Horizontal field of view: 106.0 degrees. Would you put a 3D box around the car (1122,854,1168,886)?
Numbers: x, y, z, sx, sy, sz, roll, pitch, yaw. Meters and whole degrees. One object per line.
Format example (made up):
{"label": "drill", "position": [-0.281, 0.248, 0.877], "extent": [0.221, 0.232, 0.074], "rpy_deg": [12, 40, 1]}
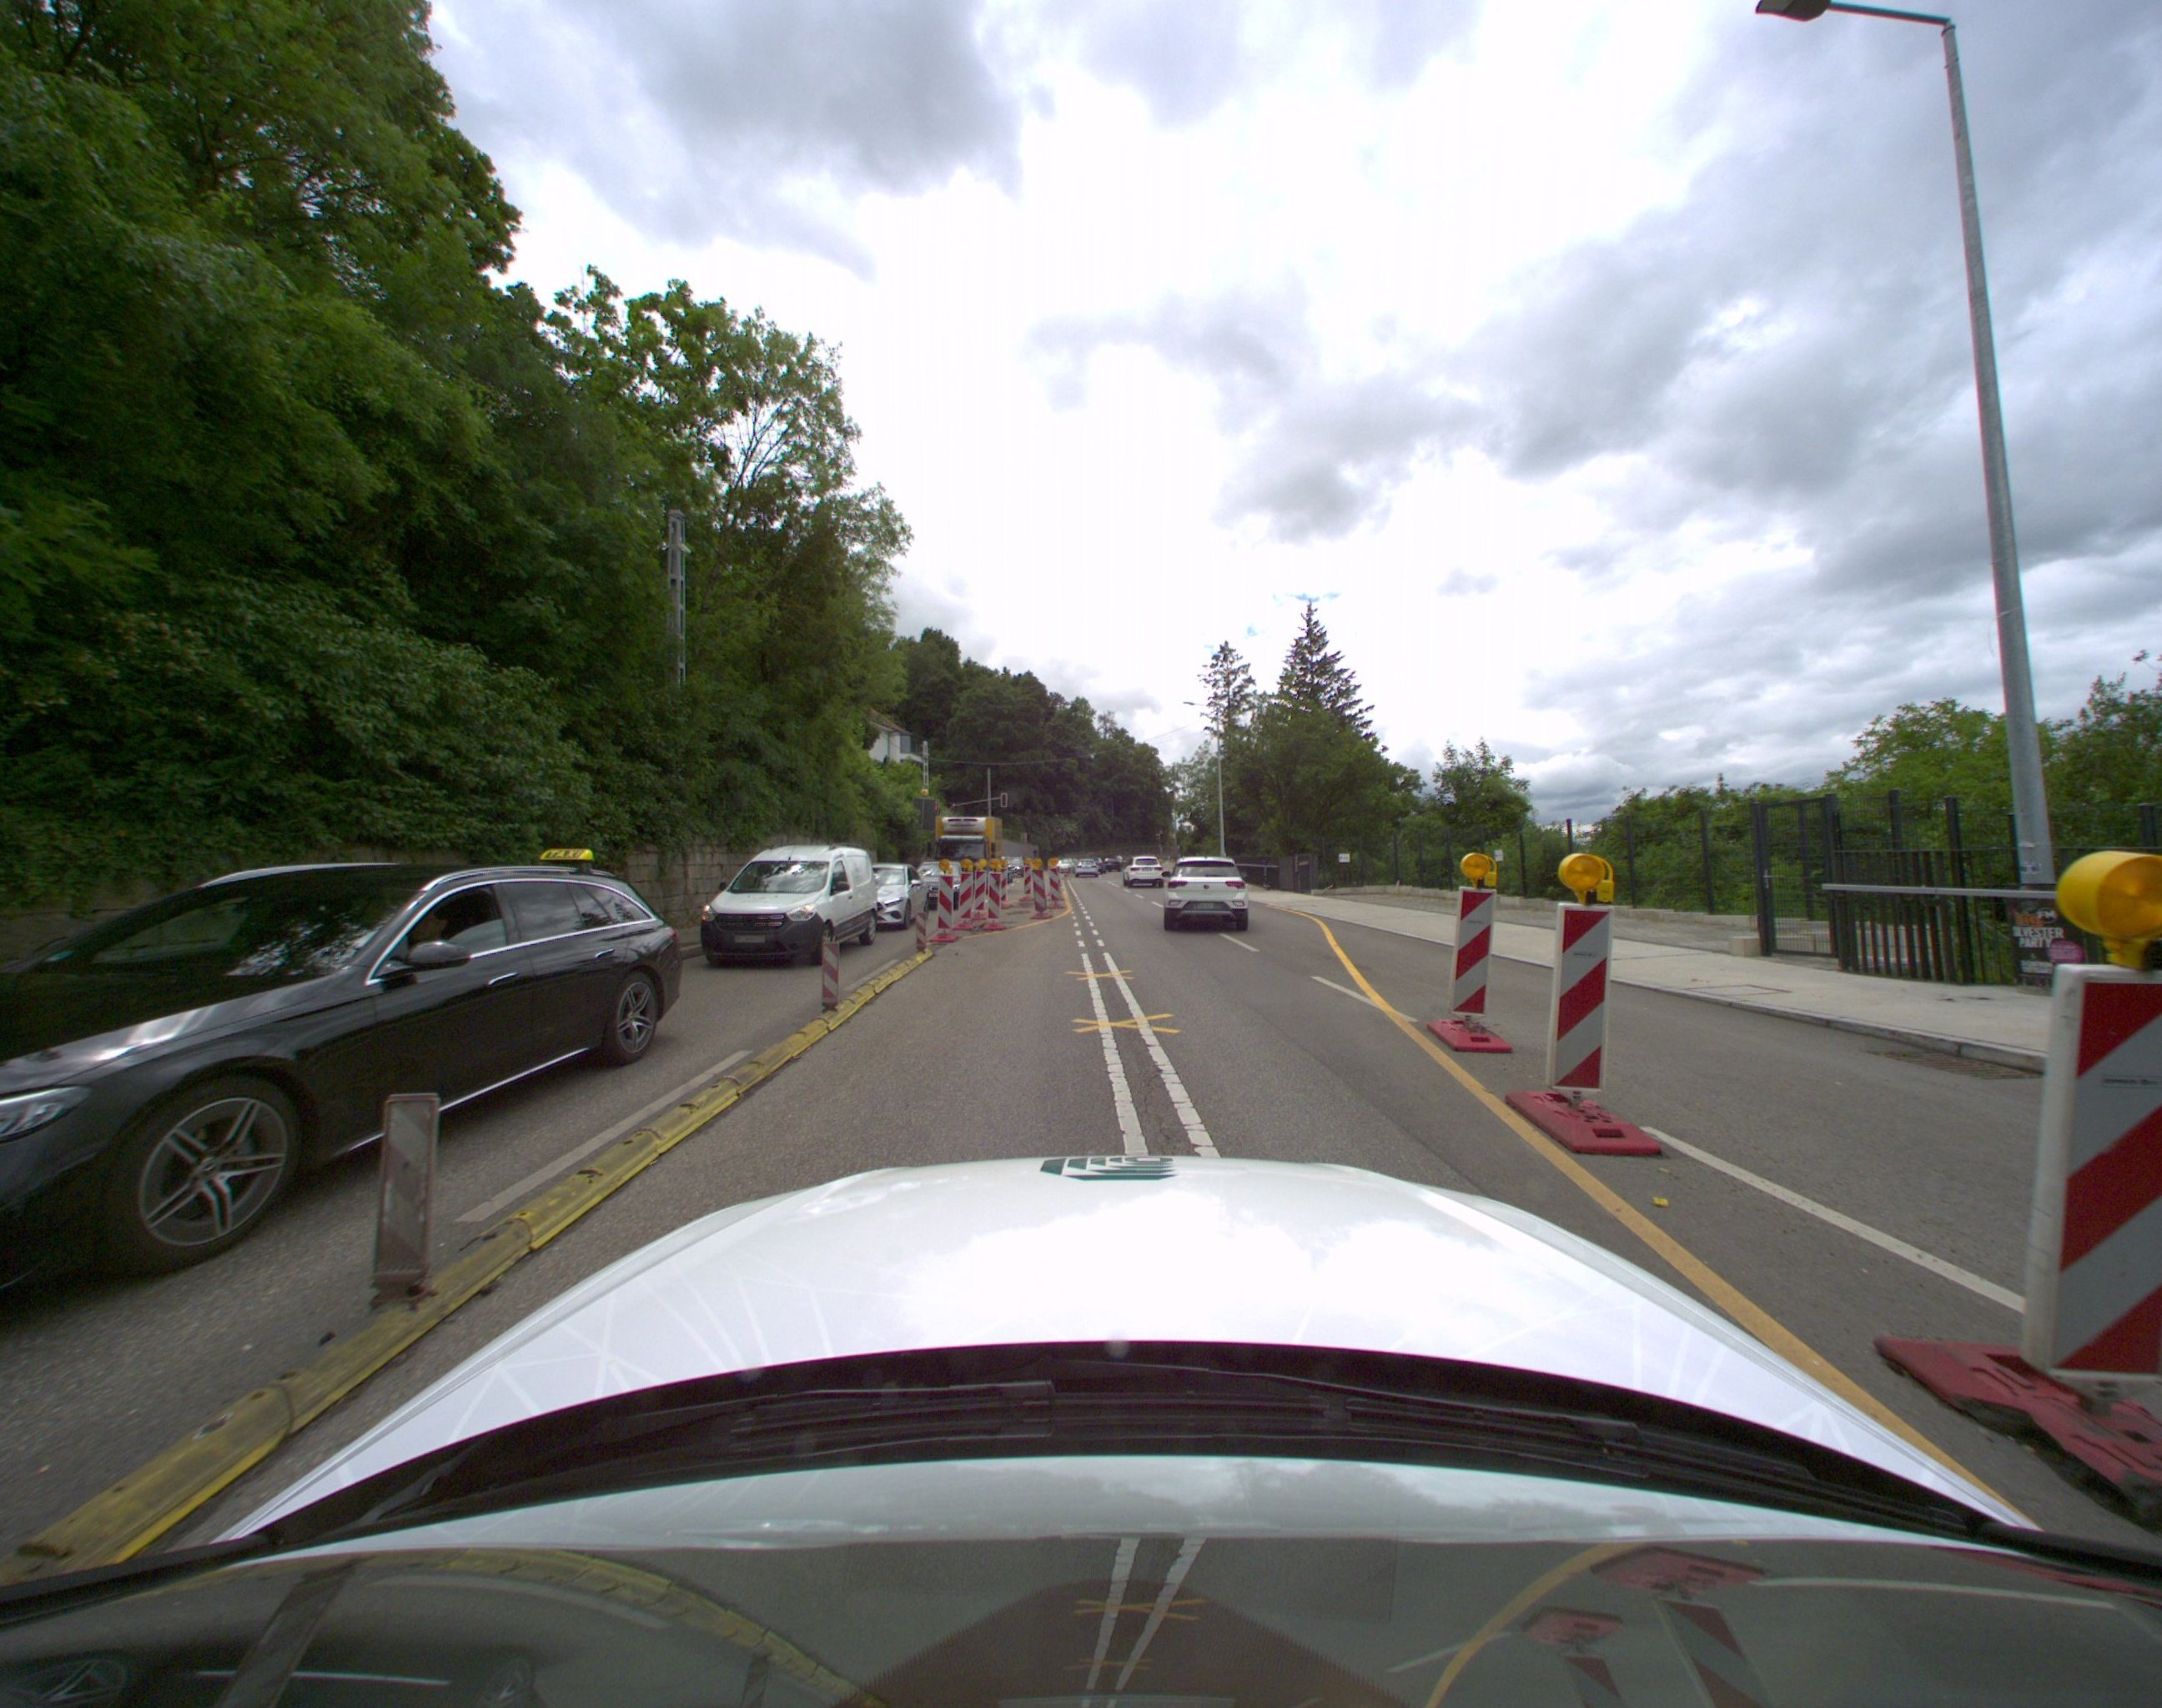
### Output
{"label": "car", "position": [3.372, 0.820, 43.437], "extent": [1.988, 1.586, 3.996], "rpy_deg": [1, -1, -2]}

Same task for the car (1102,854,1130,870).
{"label": "car", "position": [3.677, 0.858, 85.308], "extent": [1.800, 1.689, 4.020], "rpy_deg": [1, -1, 20]}

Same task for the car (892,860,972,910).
{"label": "car", "position": [-4.680, 0.931, 26.215], "extent": [1.766, 1.441, 4.742], "rpy_deg": [1, -1, -2]}

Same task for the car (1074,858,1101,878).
{"label": "car", "position": [0.547, 1.119, 66.191], "extent": [1.897, 1.574, 4.005], "rpy_deg": [1, -1, 5]}

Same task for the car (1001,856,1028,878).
{"label": "car", "position": [-5.272, 1.028, 65.477], "extent": [1.878, 1.697, 4.668], "rpy_deg": [0, 0, -1]}

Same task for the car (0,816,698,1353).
{"label": "car", "position": [-4.146, 0.692, 4.584], "extent": [1.826, 1.592, 4.652], "rpy_deg": [1, -1, -1]}

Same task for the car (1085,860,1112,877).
{"label": "car", "position": [1.665, 1.319, 76.276], "extent": [1.982, 1.541, 4.020], "rpy_deg": [1, -1, 9]}

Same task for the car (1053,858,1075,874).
{"label": "car", "position": [-1.658, 1.170, 81.044], "extent": [1.702, 1.466, 3.668], "rpy_deg": [1, 0, 7]}

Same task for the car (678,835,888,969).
{"label": "car", "position": [-4.544, 0.668, 13.216], "extent": [1.797, 1.790, 4.340], "rpy_deg": [1, -1, 0]}

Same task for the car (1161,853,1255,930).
{"label": "car", "position": [2.761, 0.769, 18.322], "extent": [1.857, 1.536, 3.810], "rpy_deg": [0, 0, 6]}

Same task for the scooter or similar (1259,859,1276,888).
{"label": "scooter or similar", "position": [8.118, 0.841, 35.454], "extent": [0.532, 1.226, 1.208], "rpy_deg": [-2, 0, 5]}

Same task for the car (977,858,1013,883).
{"label": "car", "position": [-5.235, 0.998, 50.039], "extent": [1.805, 1.430, 4.871], "rpy_deg": [0, 0, -1]}

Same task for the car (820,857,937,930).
{"label": "car", "position": [-4.595, 0.840, 19.134], "extent": [1.787, 1.507, 4.308], "rpy_deg": [1, -1, -2]}

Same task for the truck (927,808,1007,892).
{"label": "truck", "position": [-5.111, -0.131, 37.741], "extent": [2.723, 3.510, 7.346], "rpy_deg": [-1, -1, -1]}
